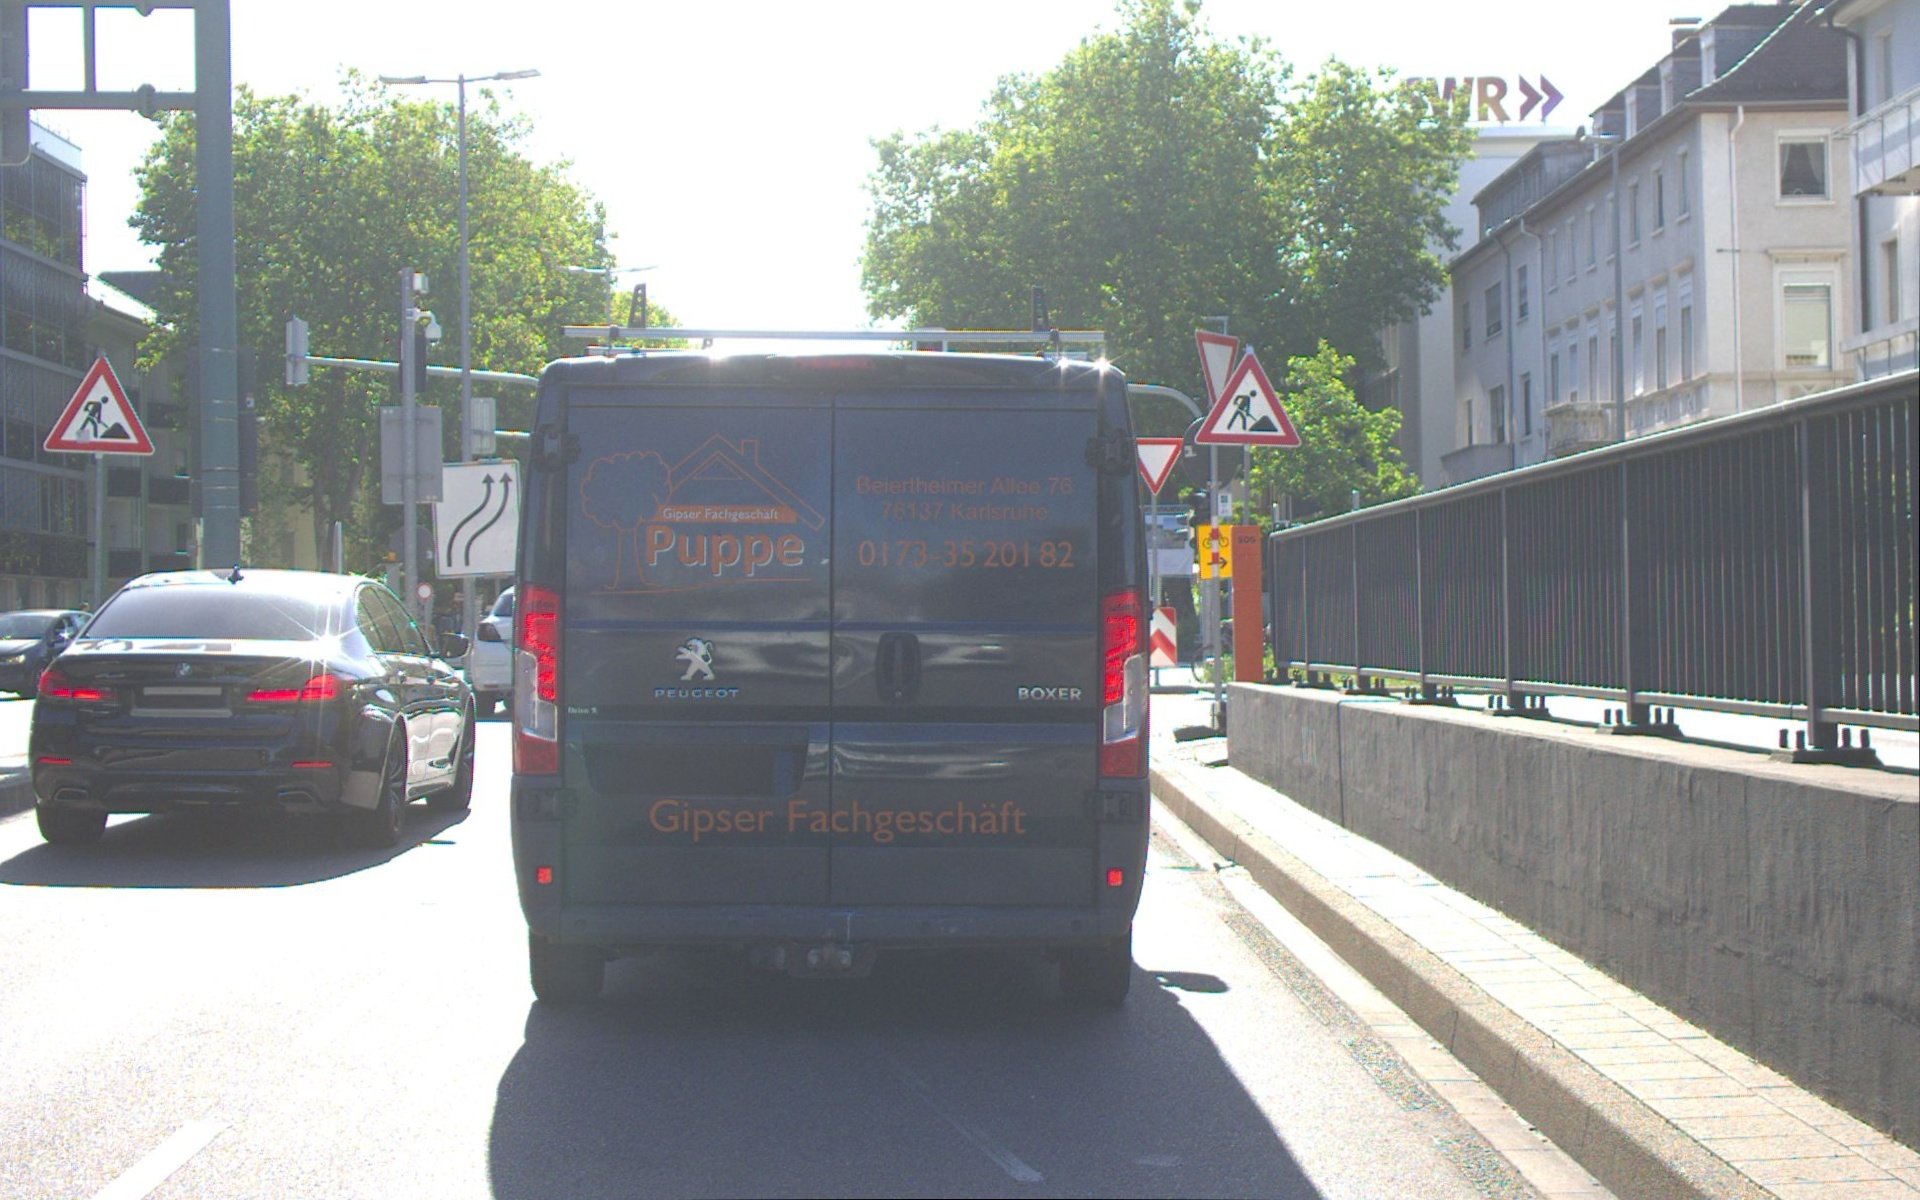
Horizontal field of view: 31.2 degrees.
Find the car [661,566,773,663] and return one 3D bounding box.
[{"bbox_3d":[-3.982,0.217,56.749,1.689,1.478,3.319,1,1,-2],"label":"car"}]

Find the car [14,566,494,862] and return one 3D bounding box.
[{"bbox_3d":[-3.825,0.542,19.474,1.808,1.434,5.003,1,0,-2],"label":"car"}]

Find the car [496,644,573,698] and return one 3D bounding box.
[{"bbox_3d":[-13.246,2.207,107.305,1.936,1.549,3.923,1,0,-1],"label":"car"}]

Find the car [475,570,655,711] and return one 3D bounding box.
[{"bbox_3d":[-4.324,0.406,38.077,1.619,1.398,3.852,1,1,-1],"label":"car"}]

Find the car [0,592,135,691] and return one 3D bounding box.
[{"bbox_3d":[-15.374,0.654,56.575,1.937,1.549,3.921,1,0,13],"label":"car"}]

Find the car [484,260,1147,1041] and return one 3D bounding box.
[{"bbox_3d":[-0.478,0.145,12.550,2.030,2.394,3.973,0,0,-1],"label":"car"}]

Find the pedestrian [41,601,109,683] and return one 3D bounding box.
[{"bbox_3d":[-21.145,0.991,82.135,1.332,1.925,1.026,1,0,-1],"label":"pedestrian"}]
